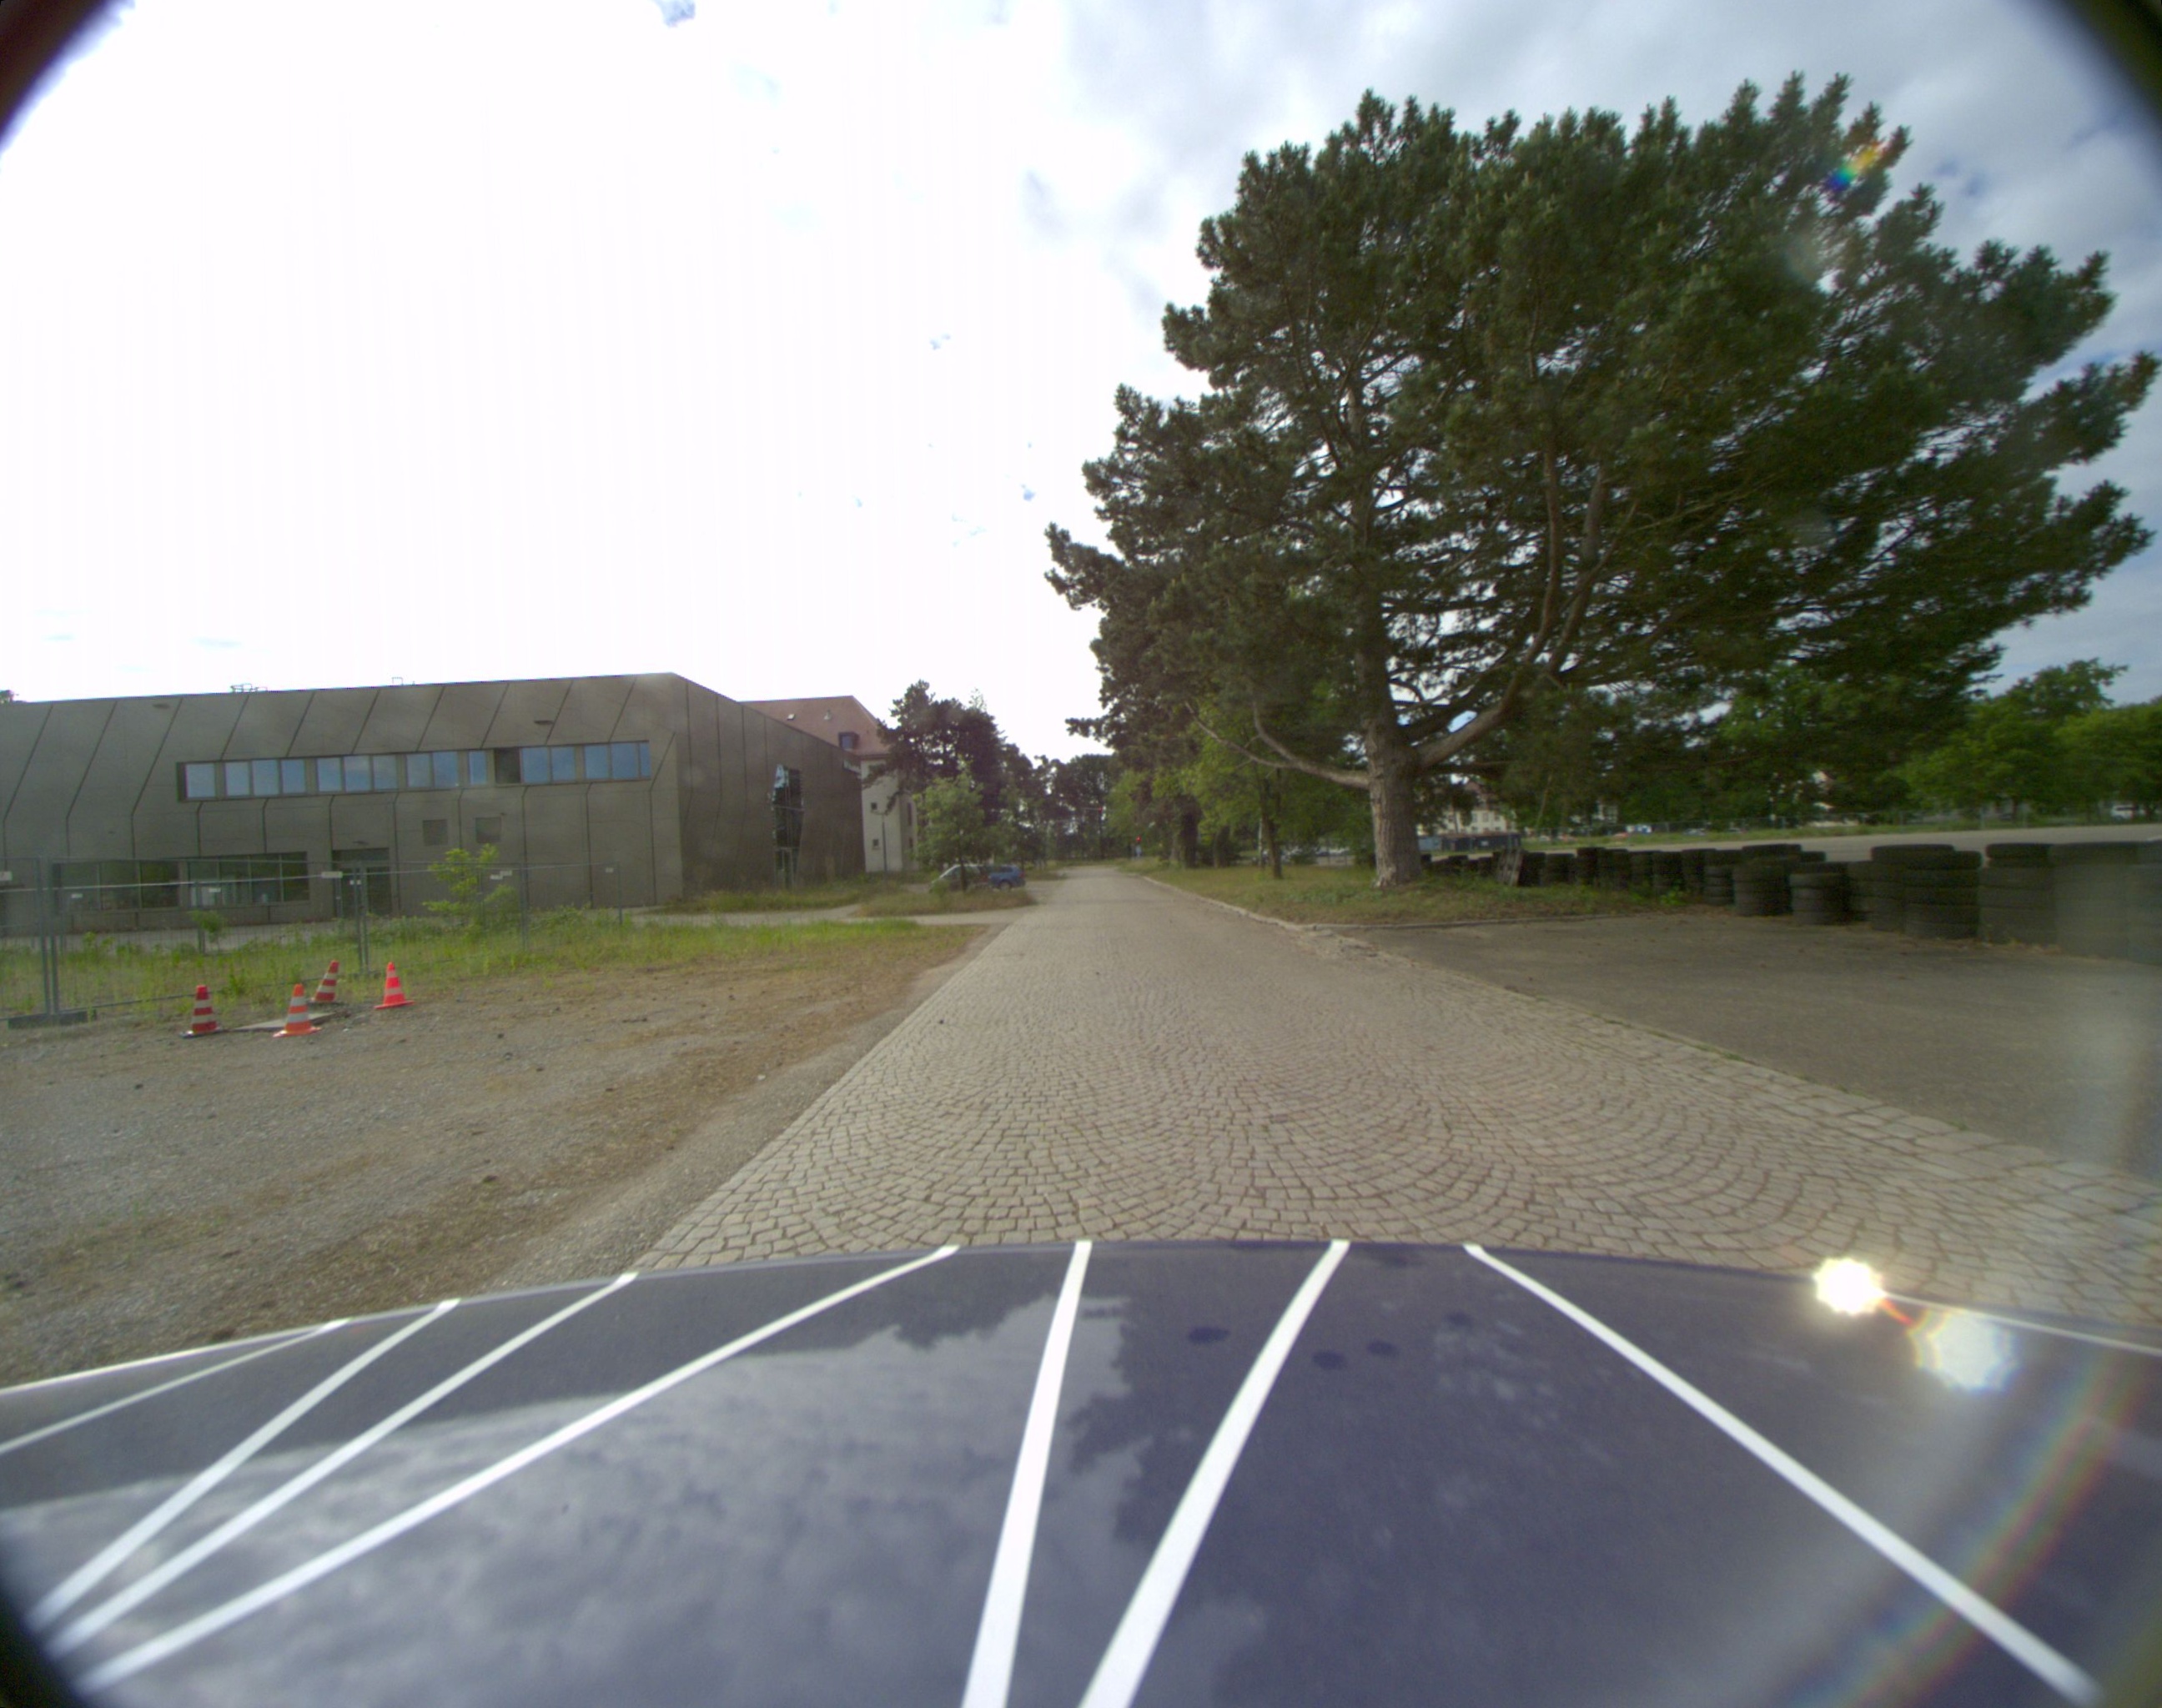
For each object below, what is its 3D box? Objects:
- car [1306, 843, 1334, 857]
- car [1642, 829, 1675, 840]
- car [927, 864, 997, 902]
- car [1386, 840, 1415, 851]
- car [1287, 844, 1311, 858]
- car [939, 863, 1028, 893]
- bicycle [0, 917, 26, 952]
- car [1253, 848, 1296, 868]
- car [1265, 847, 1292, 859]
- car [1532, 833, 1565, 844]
[{"bbox_3d":[29.077,-0.465,92.611,1.829,1.466,4.401,-3,0,-3],"label":"car"},{"bbox_3d":[78.329,-2.680,103.131,1.709,1.343,4.406,-3,0,11],"label":"car"},{"bbox_3d":[-5.143,1.247,33.067,2.716,1.547,1.654,-1,0,2],"label":"car"},{"bbox_3d":[43.596,-1.140,103.792,1.829,1.466,4.401,-3,0,-3],"label":"car"},{"bbox_3d":[26.430,-0.333,92.200,1.674,1.510,3.899,-3,-2,-3],"label":"car"},{"bbox_3d":[-5.126,1.254,40.406,4.503,1.466,1.830,-1,0,-2],"label":"car"},{"bbox_3d":[-35.019,2.613,24.143,0.511,1.079,1.658,-3,0,10],"label":"bicycle"},{"bbox_3d":[13.859,0.291,54.705,1.829,1.408,4.420,0,0,-2],"label":"car"},{"bbox_3d":[23.931,-0.104,92.154,1.829,1.417,4.319,-3,0,-3],"label":"car"},{"bbox_3d":[63.577,-2.131,103.472,1.711,1.343,4.402,-3,0,0],"label":"car"}]
